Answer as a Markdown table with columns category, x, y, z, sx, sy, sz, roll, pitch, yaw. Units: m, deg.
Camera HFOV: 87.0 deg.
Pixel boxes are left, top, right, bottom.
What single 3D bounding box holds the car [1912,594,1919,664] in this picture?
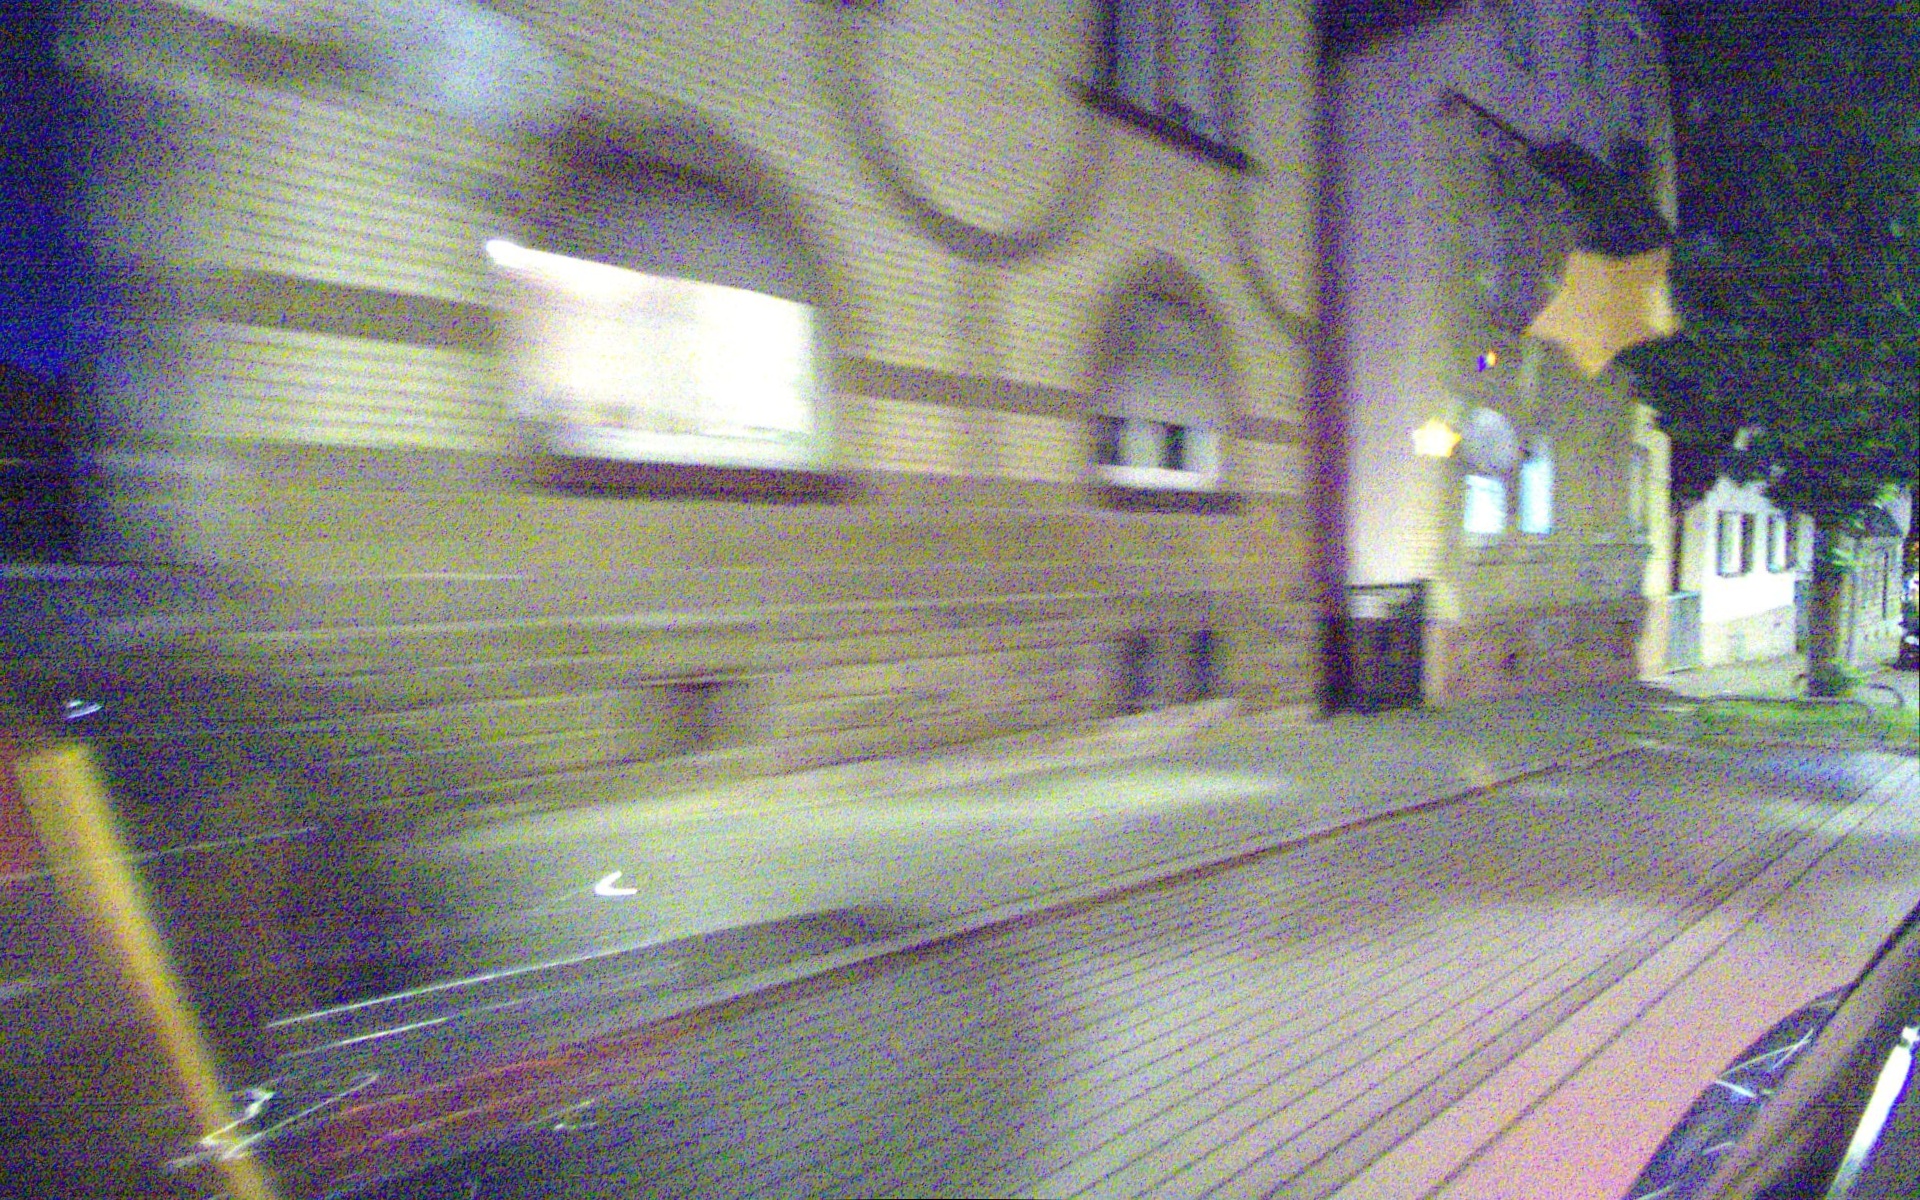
| category | x | y | z | sx | sy | sz | roll | pitch | yaw |
| --- | --- | --- | --- | --- | --- | --- | --- | --- | --- |
| car | 22.194 | 0.614 | 22.037 | 3.950 | 1.466 | 1.774 | -1 | 2 | -41 |

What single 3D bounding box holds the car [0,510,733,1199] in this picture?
| category | x | y | z | sx | sy | sz | roll | pitch | yaw |
| --- | --- | --- | --- | --- | --- | --- | --- | --- | --- |
| car | -2.395 | 0.622 | 0.670 | 4.008 | 1.494 | 1.767 | 0 | 2 | -41 |
